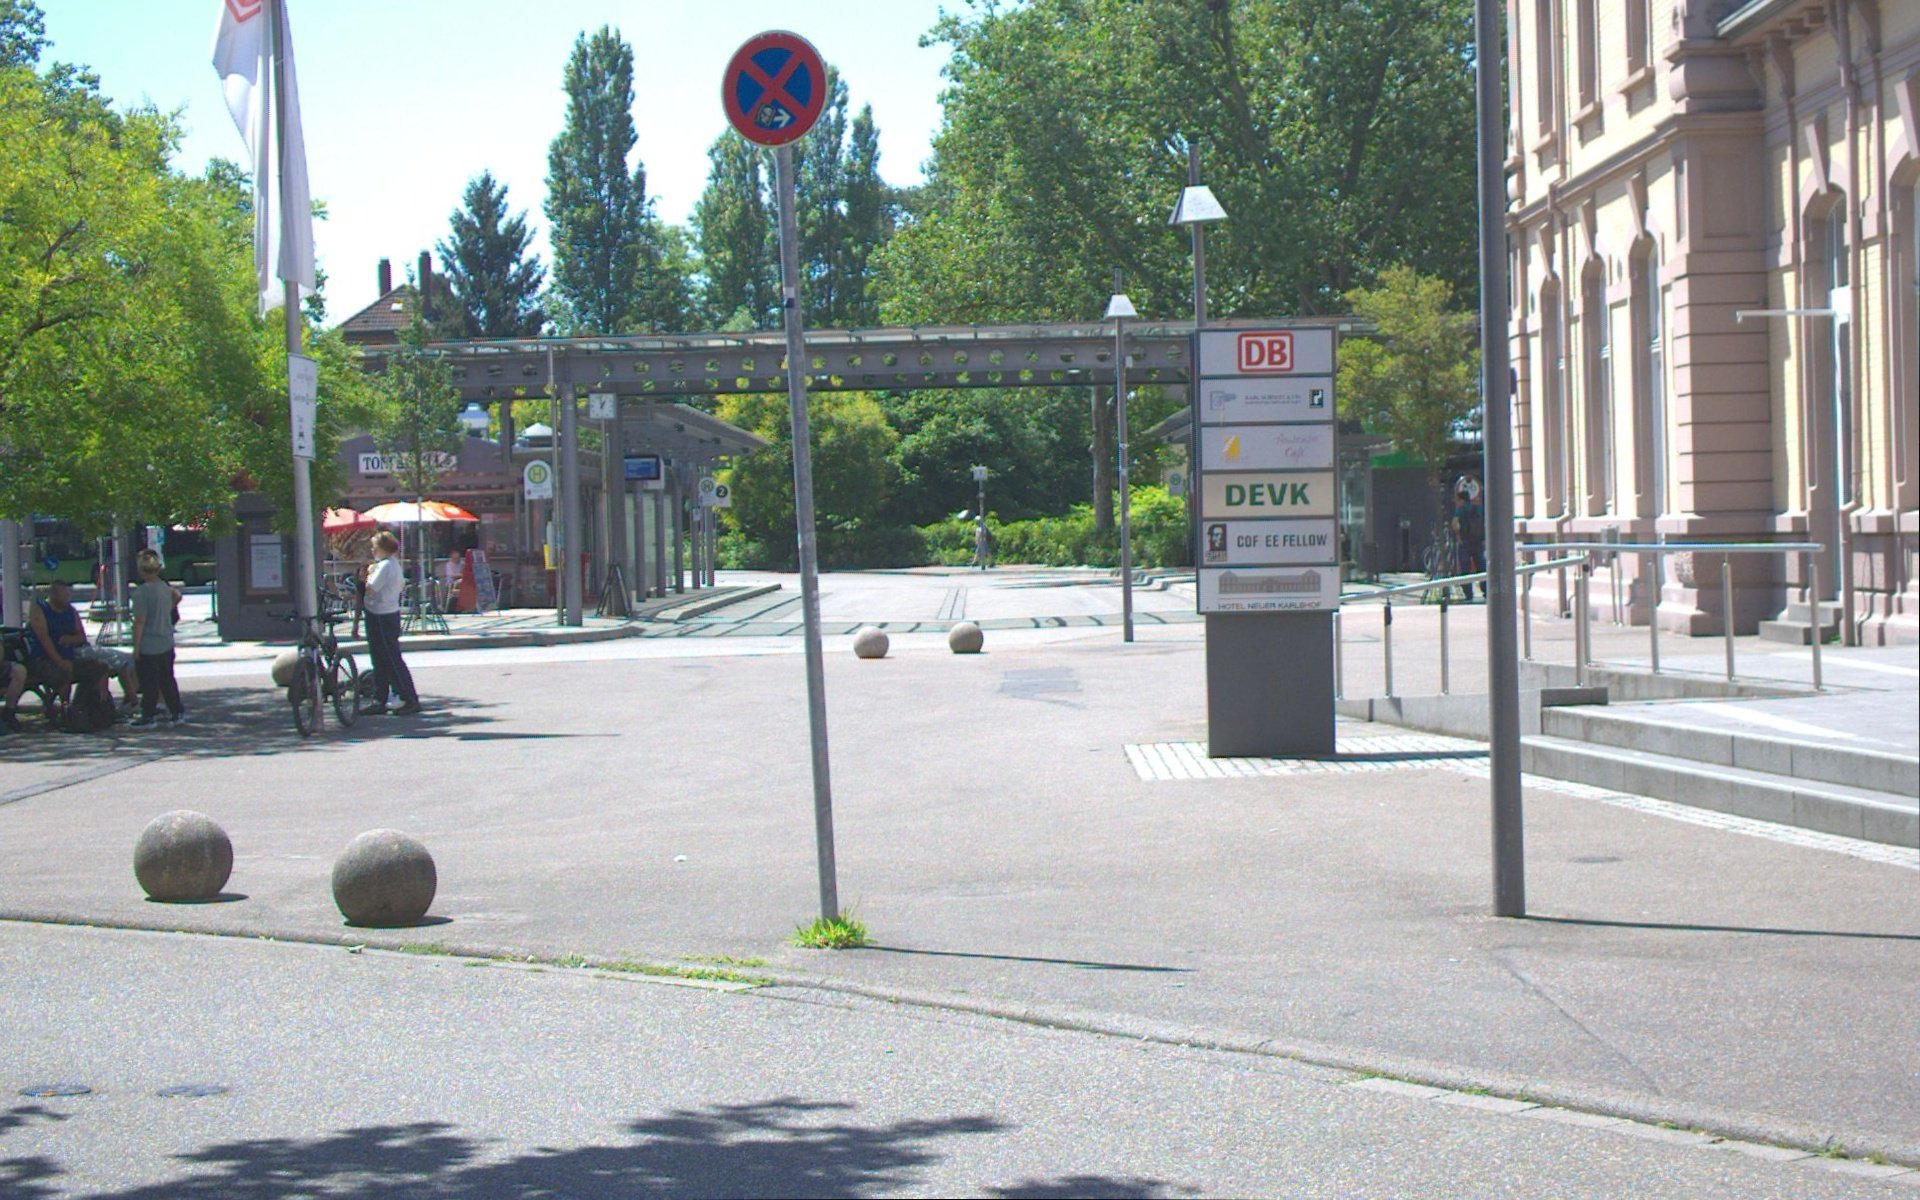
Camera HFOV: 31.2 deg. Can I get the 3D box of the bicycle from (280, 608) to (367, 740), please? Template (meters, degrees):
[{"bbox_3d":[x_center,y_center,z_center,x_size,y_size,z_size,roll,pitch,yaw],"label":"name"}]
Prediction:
[{"bbox_3d":[-5.511,0.622,29.842,0.420,1.056,1.949,-1,1,-2],"label":"bicycle"}]

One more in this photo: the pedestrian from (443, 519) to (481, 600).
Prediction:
[{"bbox_3d":[-10.748,-0.881,74.229,0.686,1.732,0.707,-1,1,0],"label":"pedestrian"}]

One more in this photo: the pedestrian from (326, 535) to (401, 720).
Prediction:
[{"bbox_3d":[-5.494,0.245,31.671,0.617,1.679,0.591,-2,1,-12],"label":"pedestrian"}]

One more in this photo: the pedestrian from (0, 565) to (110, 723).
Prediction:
[{"bbox_3d":[-8.314,0.389,31.210,0.910,1.381,0.944,-2,1,-29],"label":"pedestrian"}]

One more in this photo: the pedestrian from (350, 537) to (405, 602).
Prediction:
[{"bbox_3d":[-12.009,-0.634,70.893,0.892,1.308,0.688,-2,1,-34],"label":"pedestrian"}]

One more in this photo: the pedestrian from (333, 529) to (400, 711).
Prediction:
[{"bbox_3d":[-5.596,0.180,32.402,0.553,1.679,0.587,-2,1,-12],"label":"pedestrian"}]

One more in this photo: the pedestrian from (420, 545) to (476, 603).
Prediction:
[{"bbox_3d":[-10.545,-0.537,70.778,0.892,1.157,0.688,-2,1,-34],"label":"pedestrian"}]

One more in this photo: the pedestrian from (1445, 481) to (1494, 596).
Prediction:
[{"bbox_3d":[8.087,-0.986,54.554,0.630,1.803,0.595,-1,1,21],"label":"pedestrian"}]

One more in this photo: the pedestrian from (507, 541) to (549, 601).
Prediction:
[{"bbox_3d":[-8.818,-0.599,70.197,0.759,1.201,0.737,1,0,0],"label":"pedestrian"}]

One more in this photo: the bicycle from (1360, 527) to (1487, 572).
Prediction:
[{"bbox_3d":[10.652,-1.164,79.019,2.786,1.000,0.811,1,0,-2],"label":"bicycle"}]

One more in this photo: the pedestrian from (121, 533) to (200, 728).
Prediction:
[{"bbox_3d":[-7.226,0.270,31.070,0.510,1.734,0.571,-2,1,-29],"label":"pedestrian"}]

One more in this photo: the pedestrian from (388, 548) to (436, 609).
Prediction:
[{"bbox_3d":[-10.642,-0.422,66.765,0.686,1.157,0.895,-1,1,5],"label":"pedestrian"}]

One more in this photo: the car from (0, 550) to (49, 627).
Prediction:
[{"bbox_3d":[-19.382,-0.170,67.001,1.927,1.455,4.725,-4,1,0],"label":"car"}]

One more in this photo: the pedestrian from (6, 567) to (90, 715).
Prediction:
[{"bbox_3d":[-8.598,0.377,32.403,0.597,1.359,0.600,-2,2,-28],"label":"pedestrian"}]

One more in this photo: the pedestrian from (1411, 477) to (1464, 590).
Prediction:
[{"bbox_3d":[7.725,-1.081,55.596,0.689,1.803,0.631,-1,1,22],"label":"pedestrian"}]

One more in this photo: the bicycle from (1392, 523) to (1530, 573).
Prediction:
[{"bbox_3d":[10.647,-1.105,73.118,2.786,1.000,0.811,1,0,-2],"label":"bicycle"}]

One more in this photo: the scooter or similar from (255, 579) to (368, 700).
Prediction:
[{"bbox_3d":[-6.247,0.377,33.138,1.024,1.135,0.294,-2,1,-7],"label":"scooter or similar"}]

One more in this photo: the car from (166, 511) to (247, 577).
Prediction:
[{"bbox_3d":[-25.874,-1.938,118.186,2.202,2.165,4.883,-2,1,-7],"label":"car"}]
